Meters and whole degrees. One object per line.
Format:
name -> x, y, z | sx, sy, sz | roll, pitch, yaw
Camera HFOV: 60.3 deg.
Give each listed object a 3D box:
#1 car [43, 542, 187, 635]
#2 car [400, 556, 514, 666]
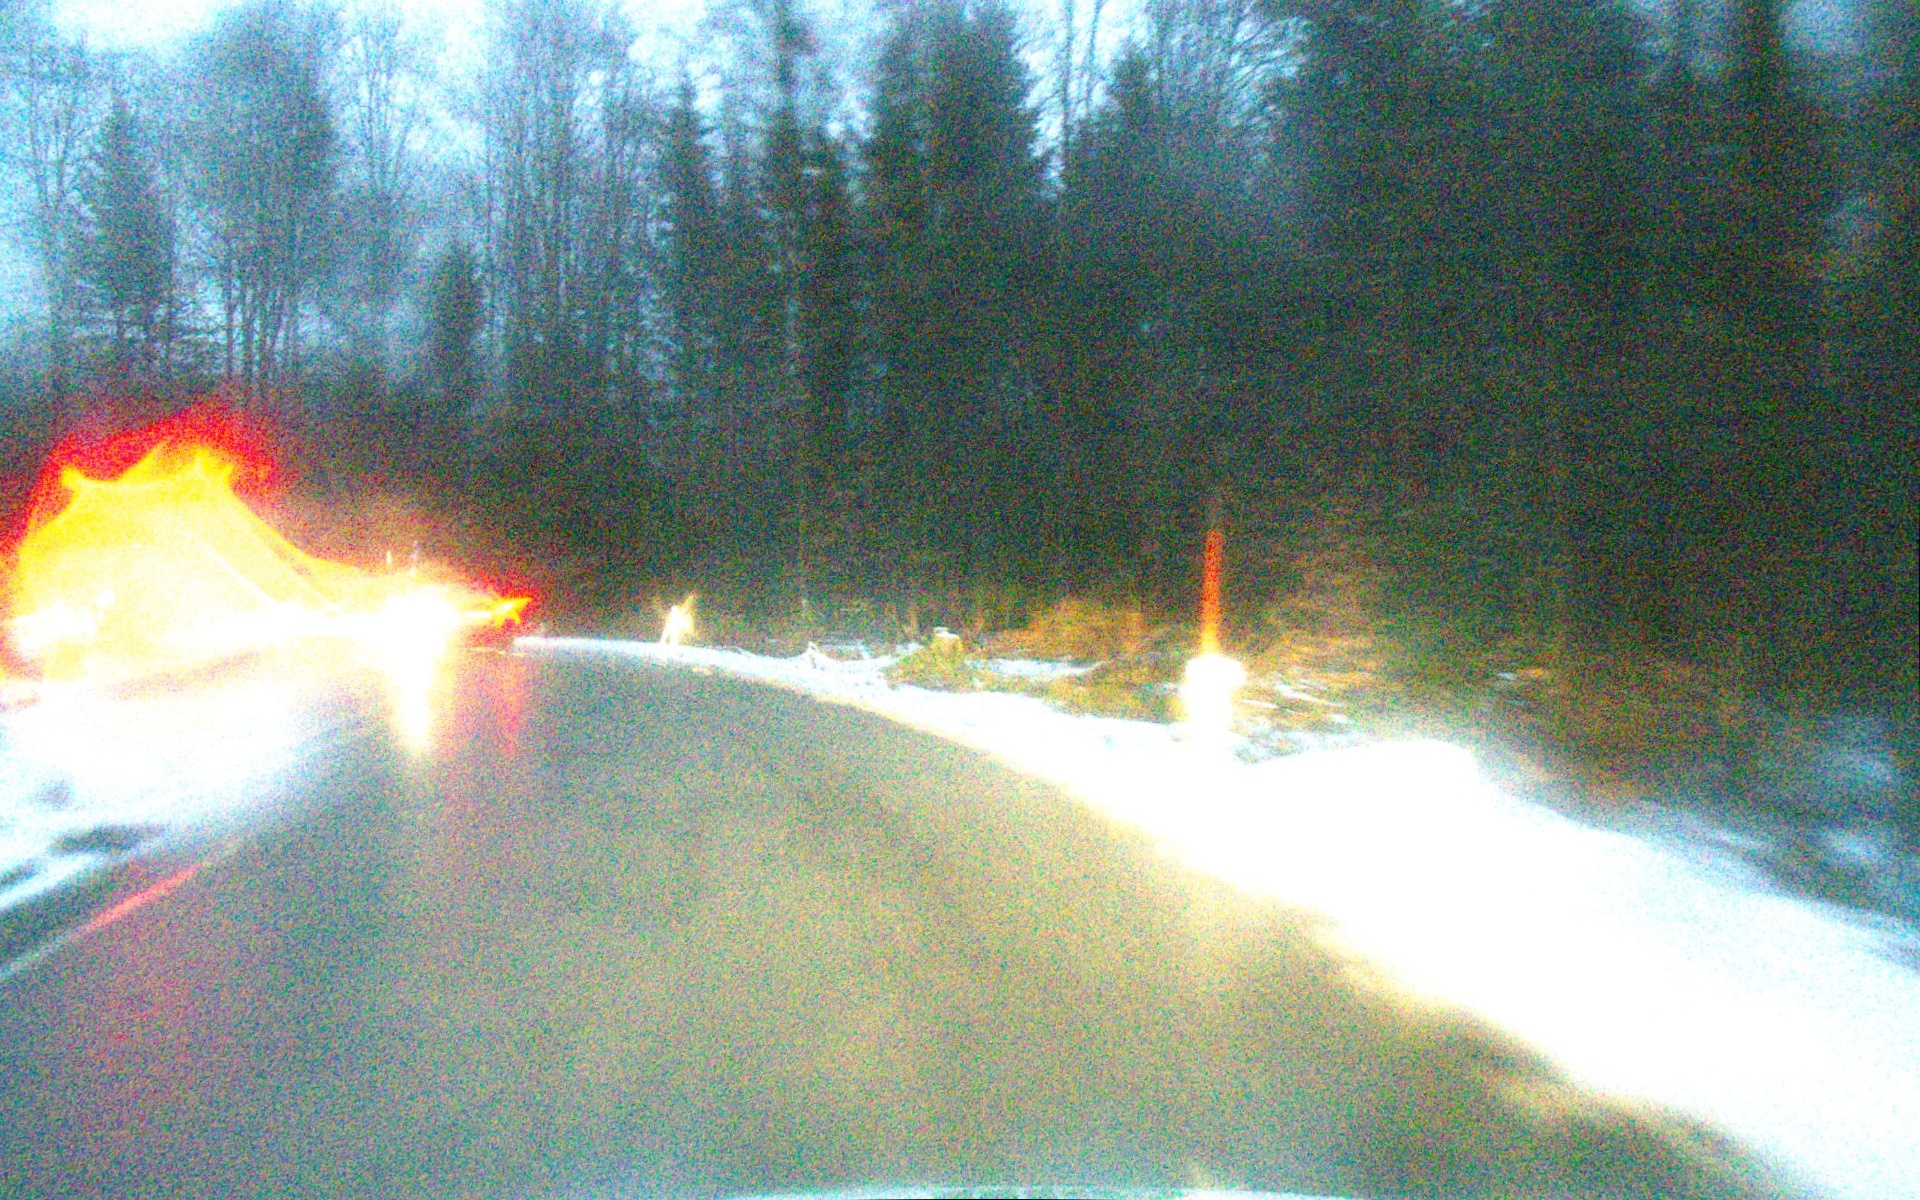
car -> -25.937, -0.348, 50.689 | 4.916, 2.691, 2.247 | 0, 2, 42
car -> -10.640, 0.214, 34.813 | 1.965, 2.087, 3.975 | -3, 1, -21
